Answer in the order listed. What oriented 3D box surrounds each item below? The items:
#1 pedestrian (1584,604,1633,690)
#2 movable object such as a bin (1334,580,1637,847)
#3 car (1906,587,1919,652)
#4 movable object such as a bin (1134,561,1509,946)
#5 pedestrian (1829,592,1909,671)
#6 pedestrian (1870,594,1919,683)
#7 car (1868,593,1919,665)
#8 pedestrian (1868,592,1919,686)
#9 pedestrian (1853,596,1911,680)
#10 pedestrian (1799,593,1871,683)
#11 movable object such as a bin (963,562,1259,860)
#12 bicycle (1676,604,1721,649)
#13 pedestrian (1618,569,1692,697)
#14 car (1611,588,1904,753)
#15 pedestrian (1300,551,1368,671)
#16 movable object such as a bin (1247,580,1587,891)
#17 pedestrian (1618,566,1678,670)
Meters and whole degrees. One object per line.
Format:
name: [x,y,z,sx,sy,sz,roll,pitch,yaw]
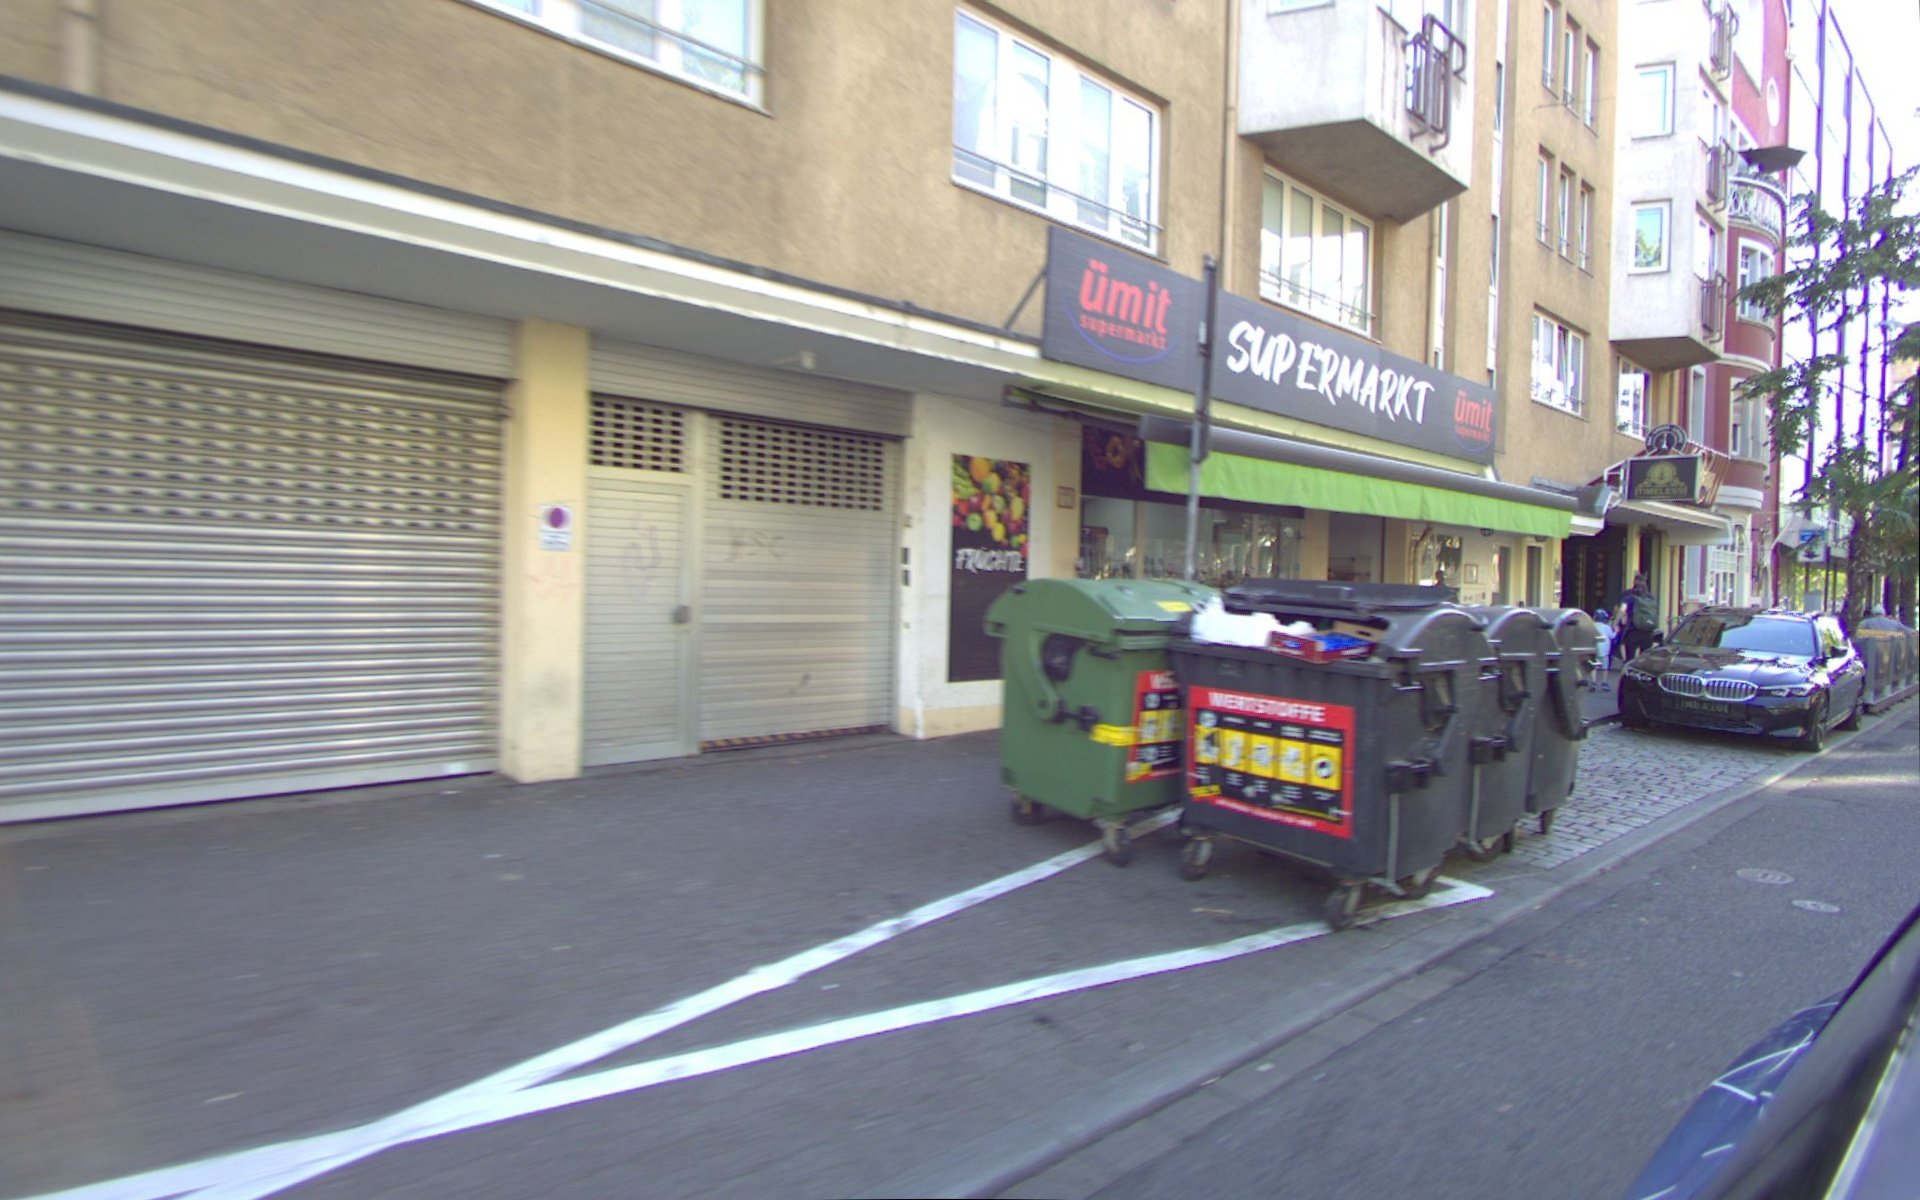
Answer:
pedestrian: [9.191,0.650,14.342,0.493,1.177,0.443,0,2,-44]
movable object such as a bin: [3.400,0.633,6.603,1.126,1.472,1.402,1,2,-40]
car: [28.793,0.608,28.833,4.839,1.799,1.828,0,4,-38]
movable object such as a bin: [1.759,0.610,5.003,1.126,1.561,1.333,1,2,-41]
pedestrian: [18.921,0.630,21.071,0.875,1.555,1.059,0,2,-37]
pedestrian: [17.305,0.682,18.472,0.791,1.555,0.753,1,1,-26]
car: [23.970,0.703,24.855,4.757,1.615,1.826,0,4,-41]
pedestrian: [16.344,0.652,17.632,0.963,1.555,0.651,0,2,-43]
pedestrian: [17.819,0.706,19.565,0.762,1.555,0.694,0,2,-40]
pedestrian: [15.817,0.675,18.301,0.753,1.555,0.715,1,1,-26]
movable object such as a bin: [0.861,0.533,5.781,1.272,1.449,1.079,0,2,-41]
bicycle: [17.456,0.605,23.908,1.671,1.014,0.475,0,2,-42]
pedestrian: [9.716,0.443,14.149,0.748,1.716,0.618,0,2,-39]
car: [9.709,0.686,12.165,4.826,1.489,1.826,0,4,-41]
pedestrian: [5.337,0.141,14.487,0.606,1.662,0.763,1,1,-3]
movable object such as a bin: [2.586,0.645,5.795,1.126,1.472,1.402,1,2,-40]
pedestrian: [11.606,0.287,17.096,0.620,1.716,0.502,2,1,8]
